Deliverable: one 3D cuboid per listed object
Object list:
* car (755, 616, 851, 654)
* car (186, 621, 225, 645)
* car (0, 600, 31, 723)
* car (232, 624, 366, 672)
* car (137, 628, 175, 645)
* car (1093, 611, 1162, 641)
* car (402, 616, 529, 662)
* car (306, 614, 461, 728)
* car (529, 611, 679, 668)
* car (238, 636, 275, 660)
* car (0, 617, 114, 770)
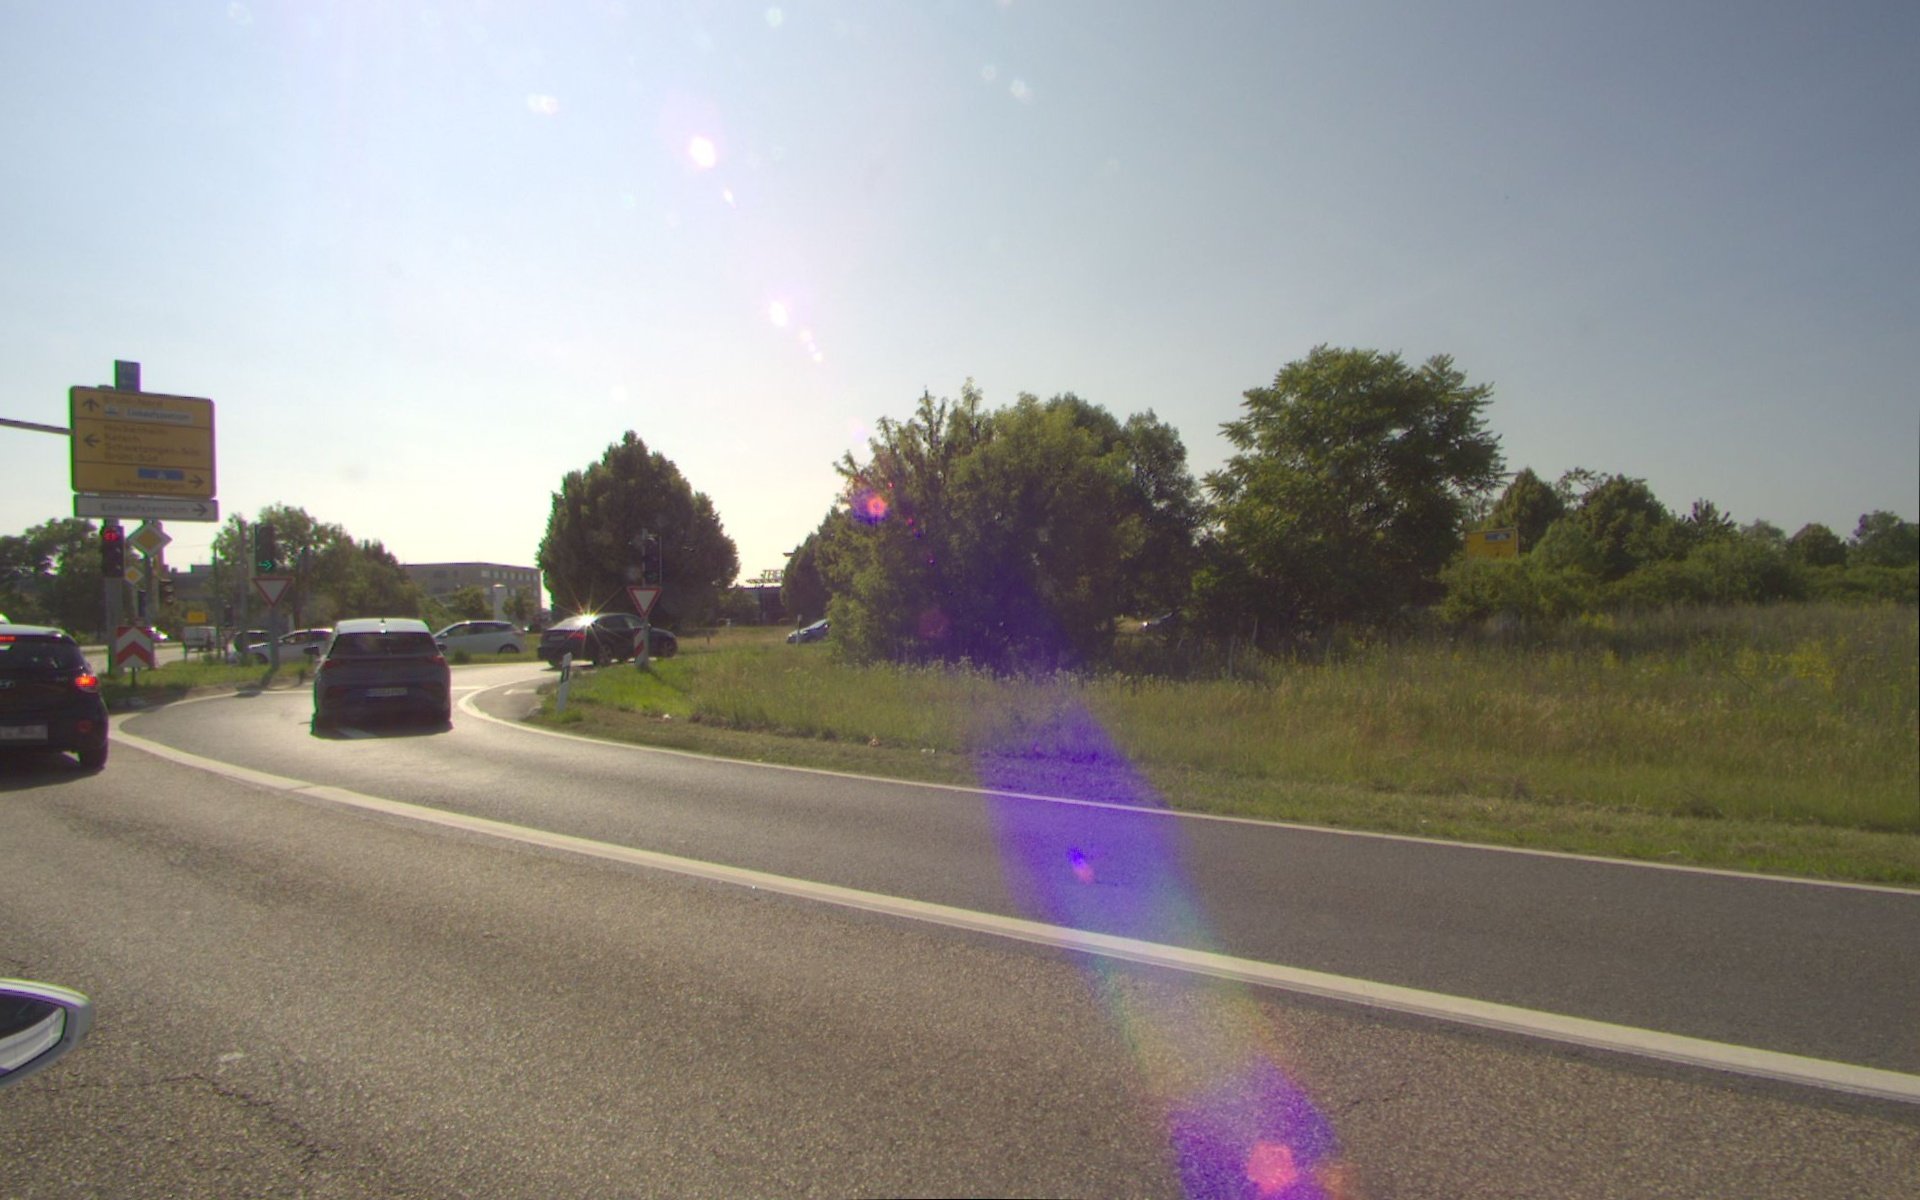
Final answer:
[{"bbox_3d":[-6.974,1.524,44.491,3.824,1.539,1.798,0,0,-30],"label":"car"},{"bbox_3d":[-57.787,2.544,76.736,1.695,1.842,3.763,1,-2,-26],"label":"car"},{"bbox_3d":[-15.055,0.880,14.735,3.706,1.698,1.626,-1,-2,41],"label":"car"},{"bbox_3d":[-23.193,1.660,35.300,3.825,1.539,1.798,0,0,-31],"label":"car"},{"bbox_3d":[-79.672,3.624,99.274,1.687,1.568,3.605,1,-2,-18],"label":"car"},{"bbox_3d":[8.997,1.423,53.699,3.494,1.535,1.455,1,-2,-29],"label":"car"},{"bbox_3d":[-17.069,1.315,34.630,3.853,1.484,1.716,0,-1,-28],"label":"car"},{"bbox_3d":[-9.225,1.012,15.869,1.756,1.537,4.071,1,-1,-35],"label":"car"},{"bbox_3d":[-9.695,1.015,27.567,1.619,1.404,3.988,0,0,23],"label":"car"},{"bbox_3d":[-51.710,3.524,73.642,1.857,1.694,3.751,1,-2,-31],"label":"car"},{"bbox_3d":[-10.404,0.924,10.677,3.257,1.467,1.626,-1,-2,41],"label":"car"}]
